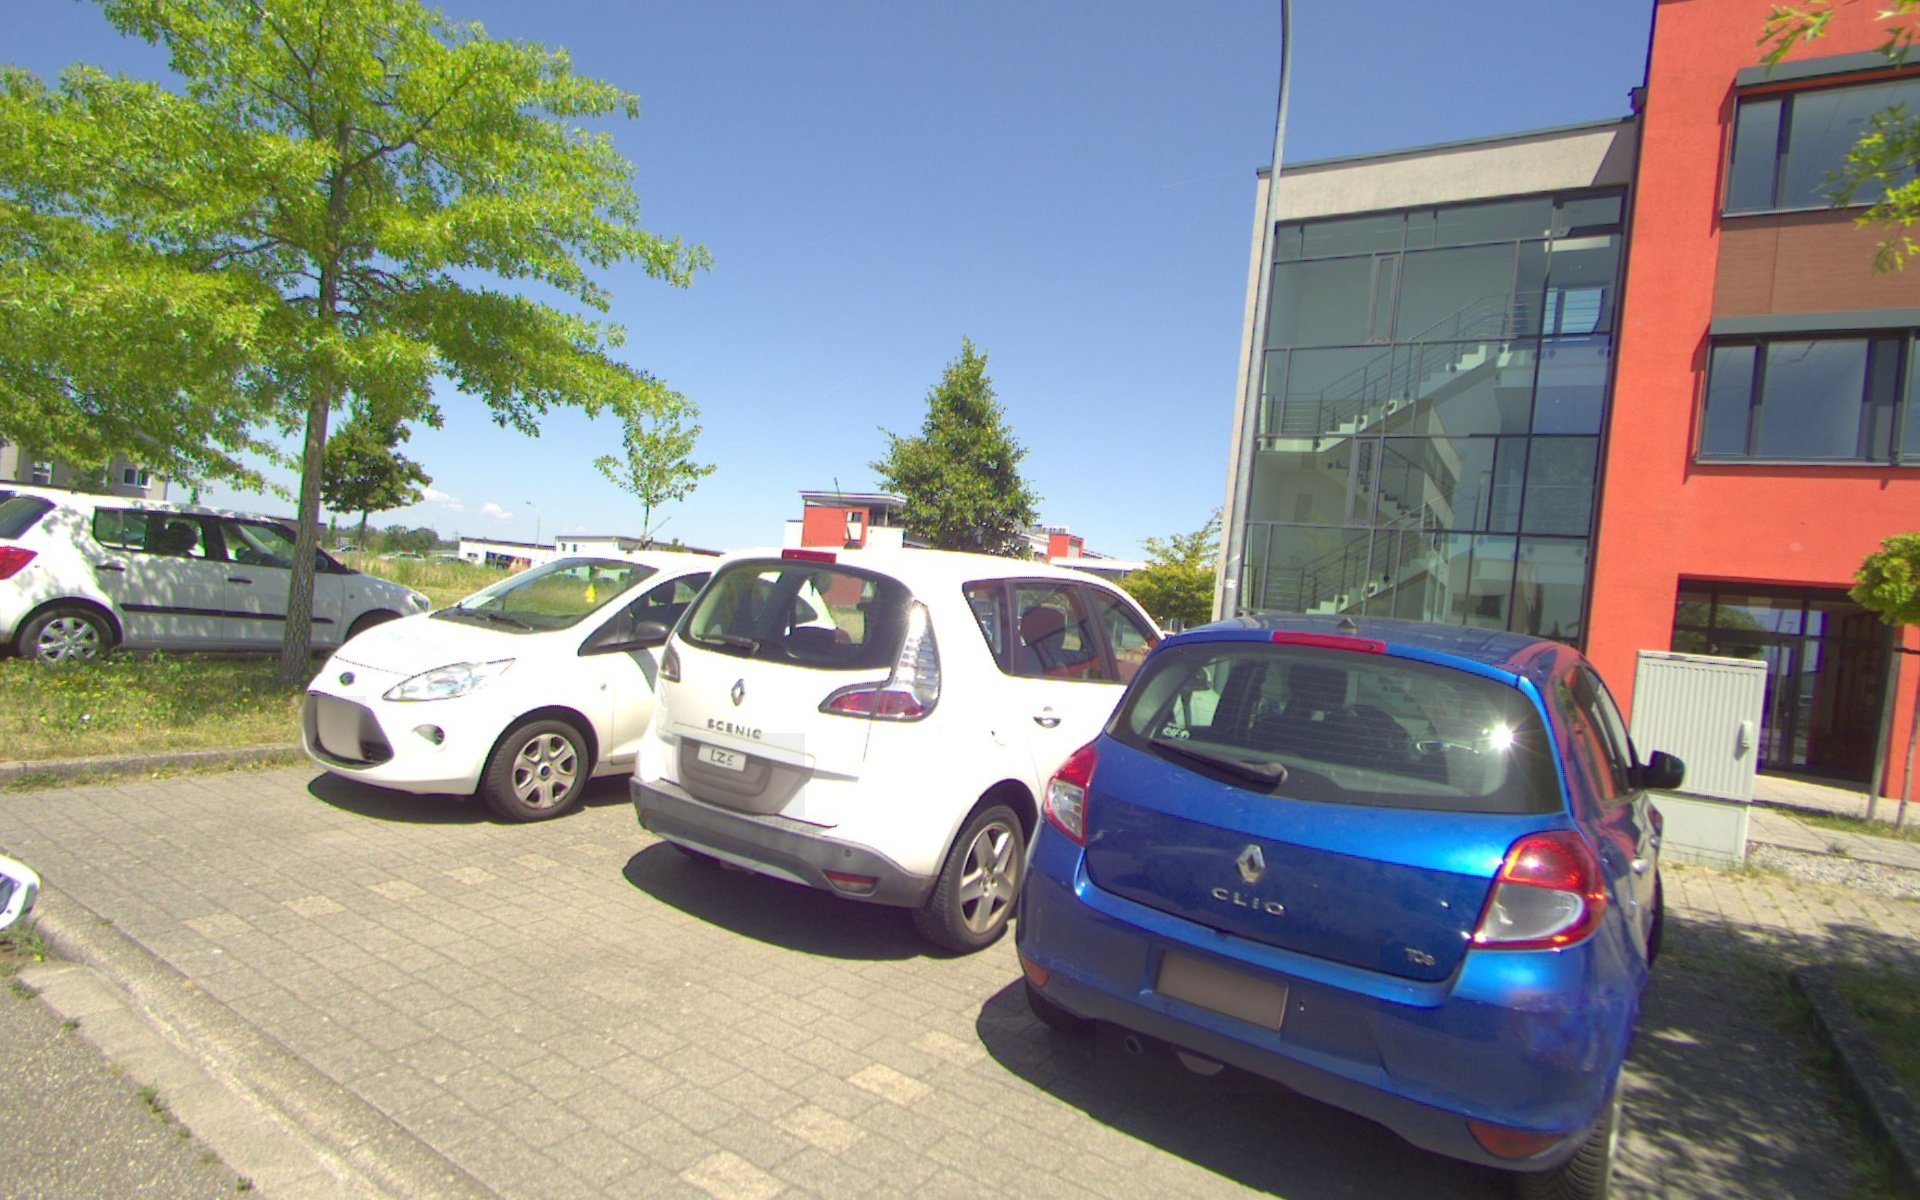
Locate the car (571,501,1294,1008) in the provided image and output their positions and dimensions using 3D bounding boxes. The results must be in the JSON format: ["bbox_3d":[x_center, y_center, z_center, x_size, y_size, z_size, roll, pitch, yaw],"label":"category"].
[{"bbox_3d":[0.242,0.551,5.572,1.746,1.672,4.106,7,2,36],"label":"car"}]

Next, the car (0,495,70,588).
[{"bbox_3d":[-16.994,-1.099,15.913,1.619,1.471,4.048,6,1,33],"label":"car"}]

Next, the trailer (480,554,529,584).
[{"bbox_3d":[-47.497,-3.240,104.993,2.196,2.632,3.992,6,0,31],"label":"trailer"}]

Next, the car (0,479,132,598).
[{"bbox_3d":[-14.901,-1.016,14.627,1.666,1.646,4.048,6,1,33],"label":"car"}]

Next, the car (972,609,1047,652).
[{"bbox_3d":[2.155,1.336,43.277,1.691,1.528,3.326,6,0,32],"label":"car"}]

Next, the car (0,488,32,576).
[{"bbox_3d":[-19.231,-1.403,17.072,1.881,1.581,4.722,6,1,29],"label":"car"}]

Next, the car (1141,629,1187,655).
[{"bbox_3d":[13.985,2.917,68.923,1.691,1.470,3.990,6,0,32],"label":"car"}]

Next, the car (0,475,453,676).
[{"bbox_3d":[-7.246,-0.158,9.625,1.750,1.543,3.837,6,0,32],"label":"car"}]

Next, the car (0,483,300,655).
[{"bbox_3d":[-9.473,-0.365,10.543,1.753,1.573,3.832,7,1,38],"label":"car"}]

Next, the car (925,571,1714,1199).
[{"bbox_3d":[1.811,0.816,4.009,1.701,1.510,3.992,7,2,36],"label":"car"}]

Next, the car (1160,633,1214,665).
[{"bbox_3d":[12.723,2.777,56.254,1.691,1.528,3.991,6,0,31],"label":"car"}]

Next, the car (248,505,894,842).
[{"bbox_3d":[-2.188,0.383,6.558,1.584,1.482,3.619,7,1,32],"label":"car"}]
